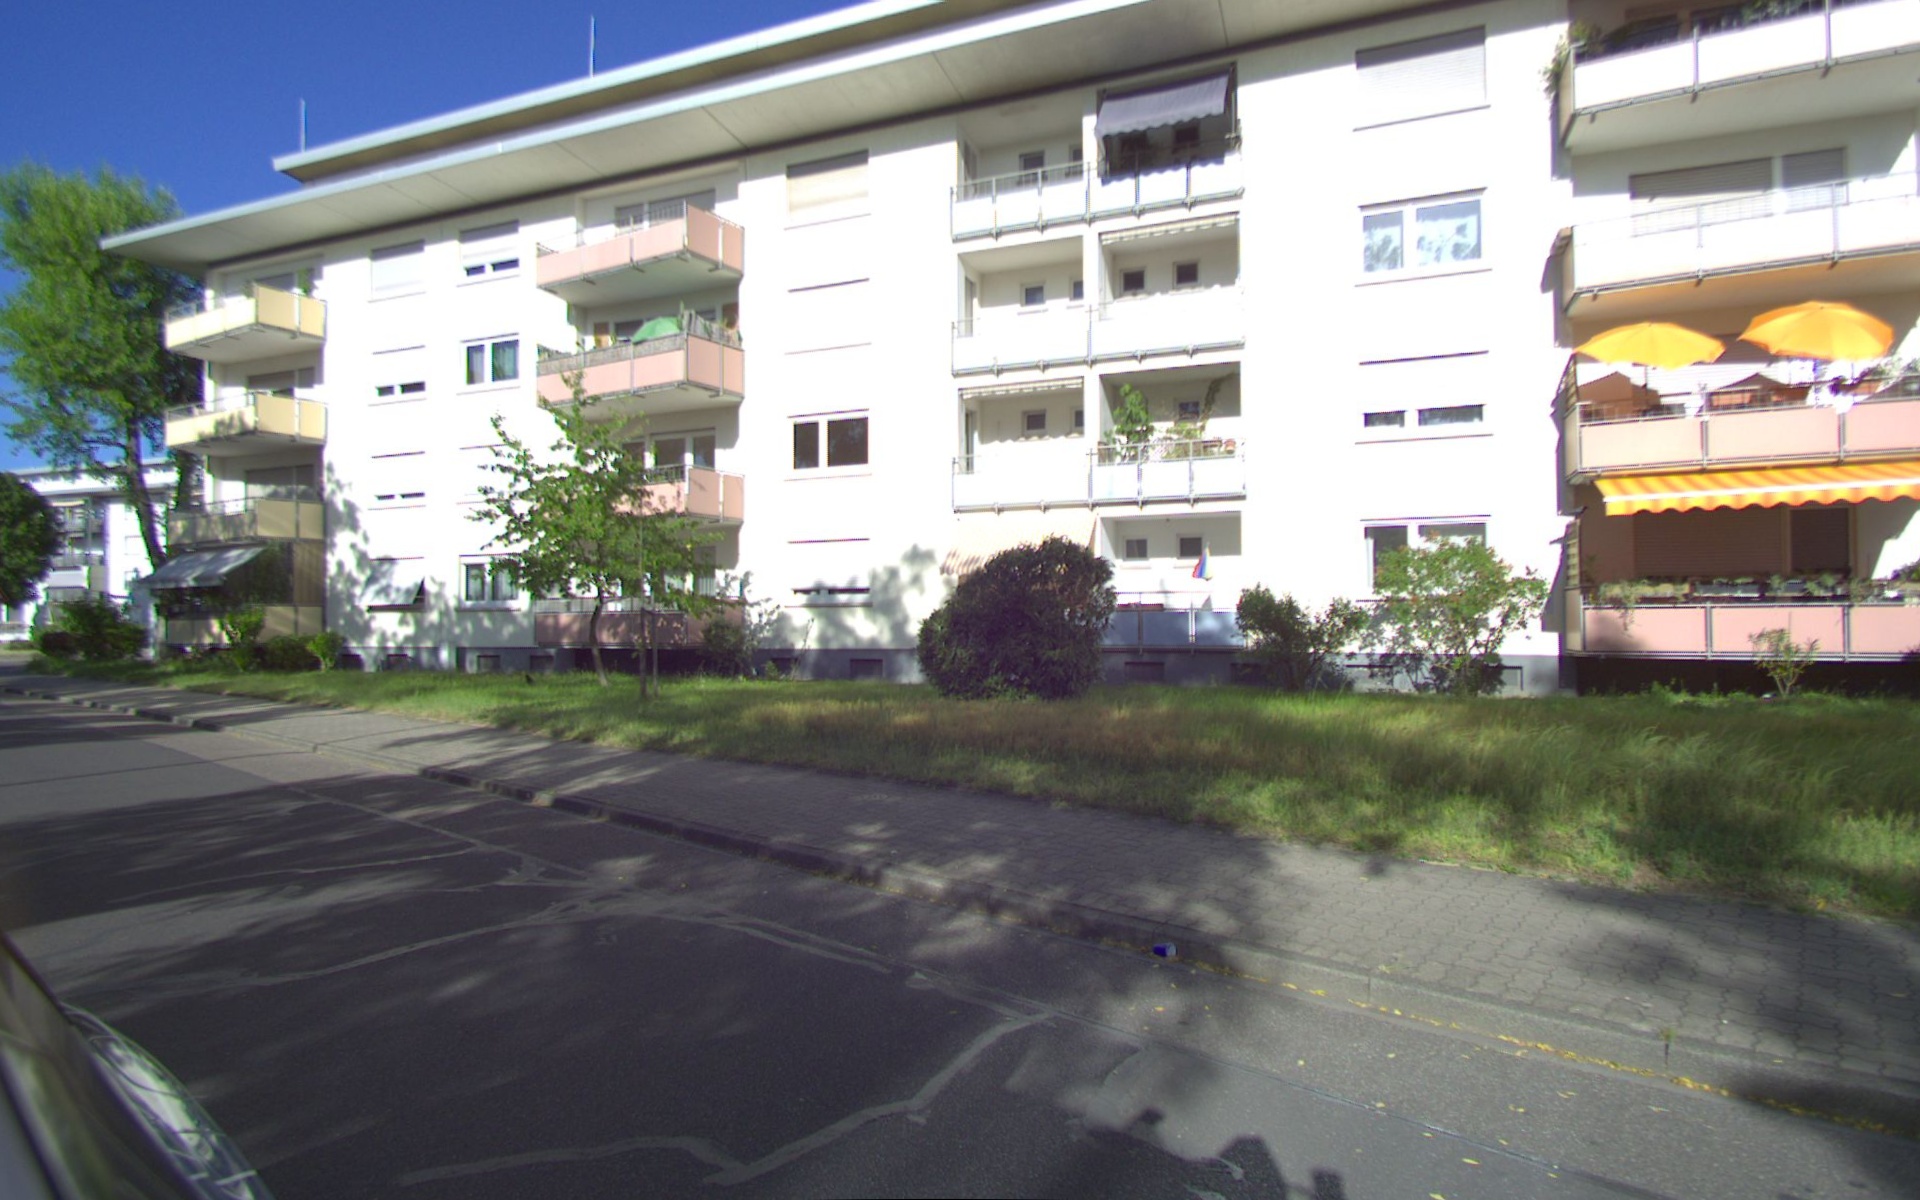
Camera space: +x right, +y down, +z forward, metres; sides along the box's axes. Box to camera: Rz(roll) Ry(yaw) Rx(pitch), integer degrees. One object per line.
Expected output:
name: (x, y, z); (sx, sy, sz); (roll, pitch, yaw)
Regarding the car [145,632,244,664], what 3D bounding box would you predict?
car: (-37.060, 2.301, 49.036); (3.675, 1.436, 1.534); (1, -2, -45)
